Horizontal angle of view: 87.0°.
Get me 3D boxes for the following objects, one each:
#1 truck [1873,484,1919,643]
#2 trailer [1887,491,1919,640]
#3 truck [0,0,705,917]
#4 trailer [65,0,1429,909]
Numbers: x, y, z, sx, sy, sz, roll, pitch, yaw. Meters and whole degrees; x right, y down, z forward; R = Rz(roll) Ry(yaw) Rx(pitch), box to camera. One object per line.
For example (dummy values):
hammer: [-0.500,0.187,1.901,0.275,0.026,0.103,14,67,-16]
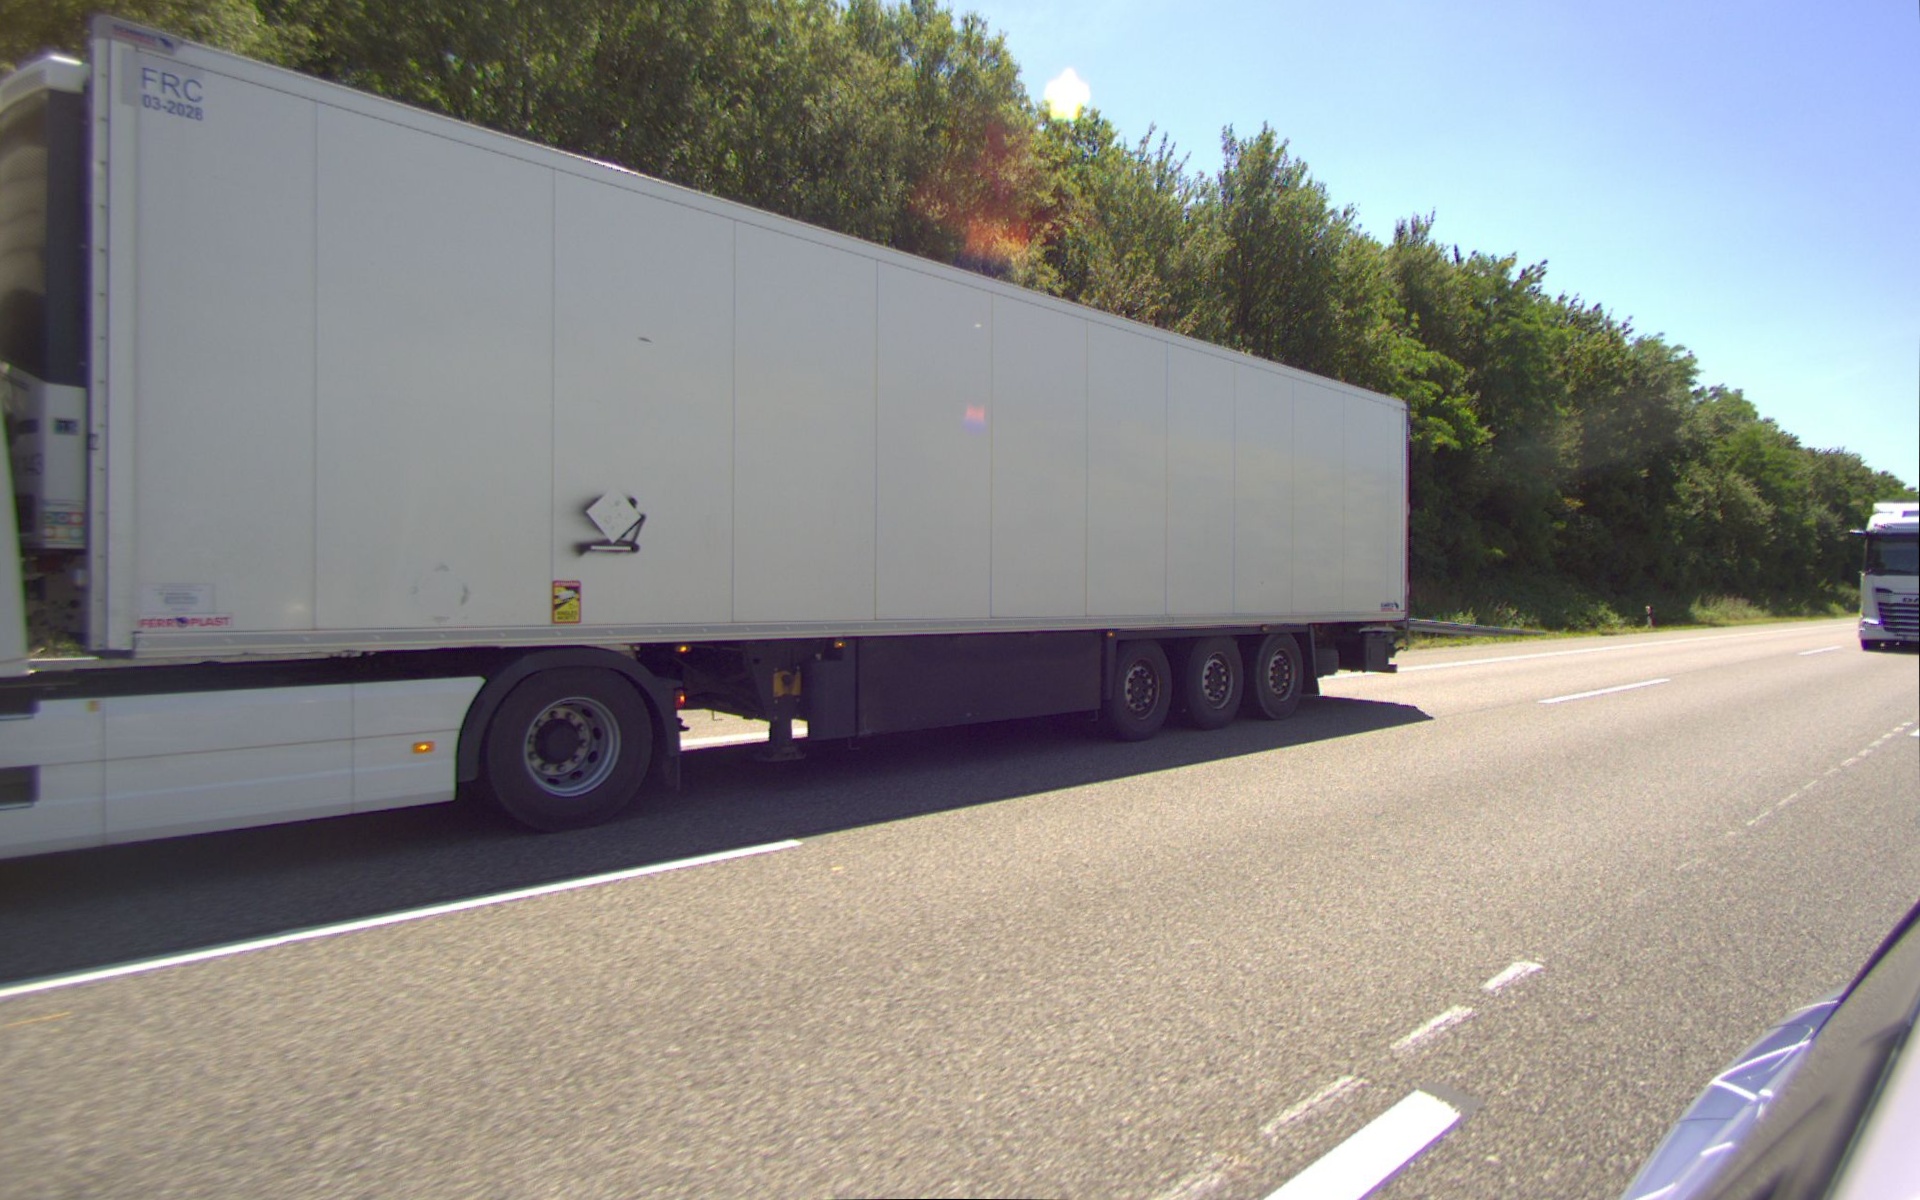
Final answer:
truck: [27.290,-0.956,27.785,5.944,4.121,2.681,0,0,-42]
trailer: [32.176,-0.986,32.180,13.597,4.121,2.681,0,1,-42]
truck: [-4.833,-0.821,5.568,5.944,4.268,3.052,0,0,-42]
trailer: [0.186,-0.855,10.078,13.597,4.278,3.044,0,1,-42]
